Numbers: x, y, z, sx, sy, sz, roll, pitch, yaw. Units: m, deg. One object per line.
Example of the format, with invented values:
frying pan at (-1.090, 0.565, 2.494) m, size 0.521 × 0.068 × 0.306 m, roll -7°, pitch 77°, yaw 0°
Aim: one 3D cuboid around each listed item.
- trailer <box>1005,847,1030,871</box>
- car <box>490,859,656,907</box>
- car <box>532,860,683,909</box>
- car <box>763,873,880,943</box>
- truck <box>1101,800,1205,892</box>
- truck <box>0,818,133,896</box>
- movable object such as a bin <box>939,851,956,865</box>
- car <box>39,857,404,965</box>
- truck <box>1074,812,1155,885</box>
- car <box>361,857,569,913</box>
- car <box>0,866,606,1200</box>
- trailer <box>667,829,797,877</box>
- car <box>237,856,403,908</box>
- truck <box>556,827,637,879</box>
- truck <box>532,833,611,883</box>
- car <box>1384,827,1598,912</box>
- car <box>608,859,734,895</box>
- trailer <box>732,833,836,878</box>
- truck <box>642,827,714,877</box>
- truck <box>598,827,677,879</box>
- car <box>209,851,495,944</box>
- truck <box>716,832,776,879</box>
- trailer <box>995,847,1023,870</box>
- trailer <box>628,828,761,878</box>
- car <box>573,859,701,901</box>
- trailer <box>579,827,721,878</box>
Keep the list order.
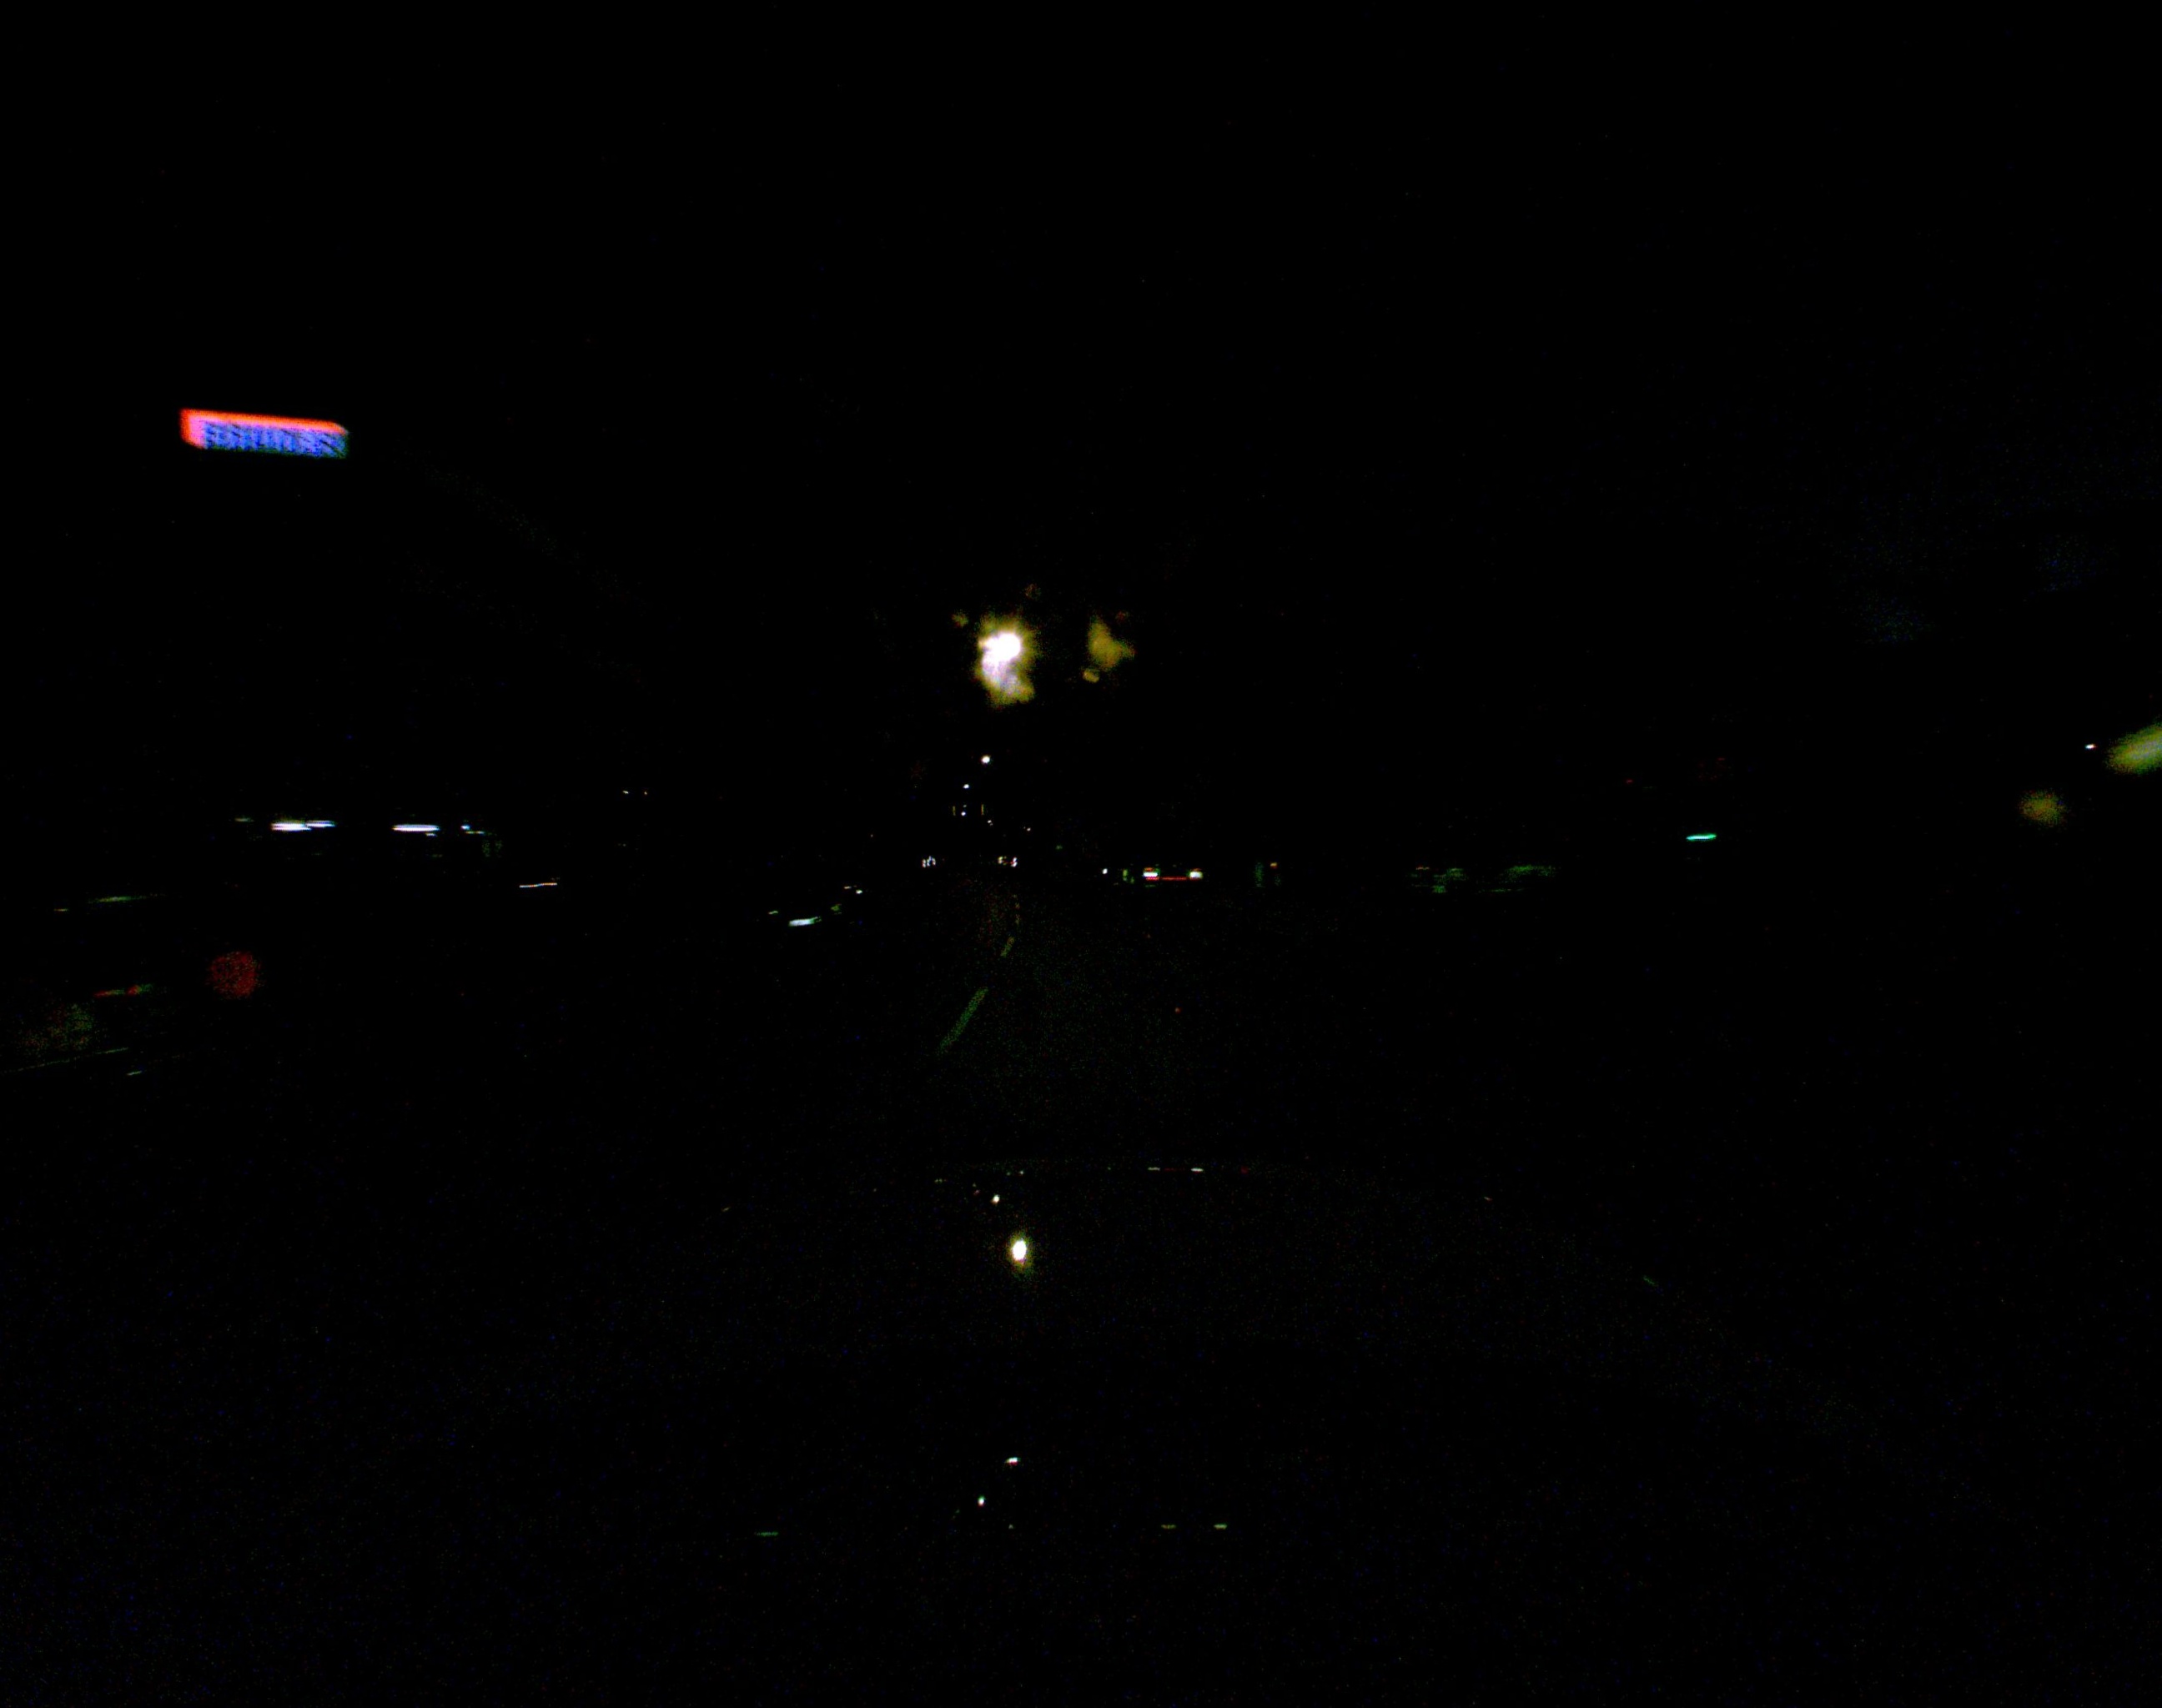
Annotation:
trailer at (-8.052, 0.658, 102.665) m, size 2.616 × 2.846 × 4.689 m, roll 0°, pitch -1°, yaw -13°
car at (-17.233, 0.947, 27.820) m, size 4.397 × 1.478 × 1.847 m, roll -1°, pitch 0°, yaw -6°
car at (-17.564, 1.093, 30.405) m, size 4.400 × 1.681 × 1.958 m, roll -1°, pitch 0°, yaw -7°
car at (-6.131, 1.207, 19.745) m, size 1.812 × 1.371 × 4.352 m, roll -1°, pitch 0°, yaw -6°
truck at (3.163, -0.311, 38.754) m, size 2.754 × 3.783 × 9.108 m, roll -2°, pitch 0°, yaw -9°
truck at (-66.812, 0.286, 49.705) m, size 12.535 × 4.550 × 3.572 m, roll -1°, pitch 0°, yaw -6°
movable object such as a bin at (-24.674, 0.734, 150.830) m, size 1.985 × 2.376 × 4.706 m, roll -2°, pitch 0°, yaw 3°
car at (-16.172, 1.015, 15.575) m, size 4.600 × 1.816 × 1.959 m, roll -1°, pitch 0°, yaw -6°
truck at (1.766, -0.267, 48.478) m, size 2.755 × 3.783 × 10.192 m, roll -2°, pitch 0°, yaw -9°
car at (-16.987, 0.831, 22.650) m, size 4.260 × 1.394 × 1.824 m, roll -1°, pitch 0°, yaw -6°
car at (-5.957, 0.939, 6.291) m, size 1.860 × 1.593 × 4.494 m, roll -1°, pitch 0°, yaw 1°
trailer at (-32.776, -0.108, 77.789) m, size 3.037 × 4.148 × 15.056 m, roll 0°, pitch 0°, yaw 13°
car at (-26.195, 0.900, 28.276) m, size 1.990 × 1.641 × 4.196 m, roll 0°, pitch 0°, yaw -4°
truck at (-42.255, -0.119, 71.247) m, size 3.038 × 4.357 × 5.584 m, roll 0°, pitch 0°, yaw 12°
truck at (-45.579, 0.346, 73.104) m, size 3.040 × 4.357 × 5.580 m, roll 0°, pitch 0°, yaw 9°
car at (9.884, 0.352, 19.772) m, size 4.327 × 1.646 × 1.885 m, roll -4°, pitch 0°, yaw -10°
car at (-17.933, 0.987, 35.778) m, size 4.437 × 1.452 × 2.059 m, roll -1°, pitch 0°, yaw -2°
trailer at (-28.306, 0.139, 78.966) m, size 3.042 × 3.932 × 15.030 m, roll 0°, pitch 0°, yaw 6°
truck at (-34.596, -0.168, 70.146) m, size 3.037 × 4.148 × 4.953 m, roll 0°, pitch 0°, yaw 13°
truck at (-38.409, -0.063, 70.739) m, size 3.038 × 4.357 × 5.584 m, roll 0°, pitch 0°, yaw 12°
car at (-16.116, 0.919, 18.231) m, size 4.397 × 1.816 × 1.959 m, roll -2°, pitch 0°, yaw -6°
truck at (-29.209, 0.147, 71.135) m, size 3.043 × 3.932 × 4.511 m, roll 0°, pitch 0°, yaw 6°
trailer at (-10.396, 0.720, 117.237) m, size 3.485 × 3.219 × 4.844 m, roll 0°, pitch -1°, yaw -13°
trailer at (-36.743, -0.046, 78.642) m, size 3.038 × 4.357 × 15.051 m, roll 0°, pitch 0°, yaw 12°
car at (-17.942, 1.037, 33.070) m, size 4.126 × 1.579 × 1.838 m, roll -1°, pitch 0°, yaw -6°
trailer at (-40.793, -0.118, 78.237) m, size 3.038 × 4.357 × 15.051 m, roll 0°, pitch 0°, yaw 12°
